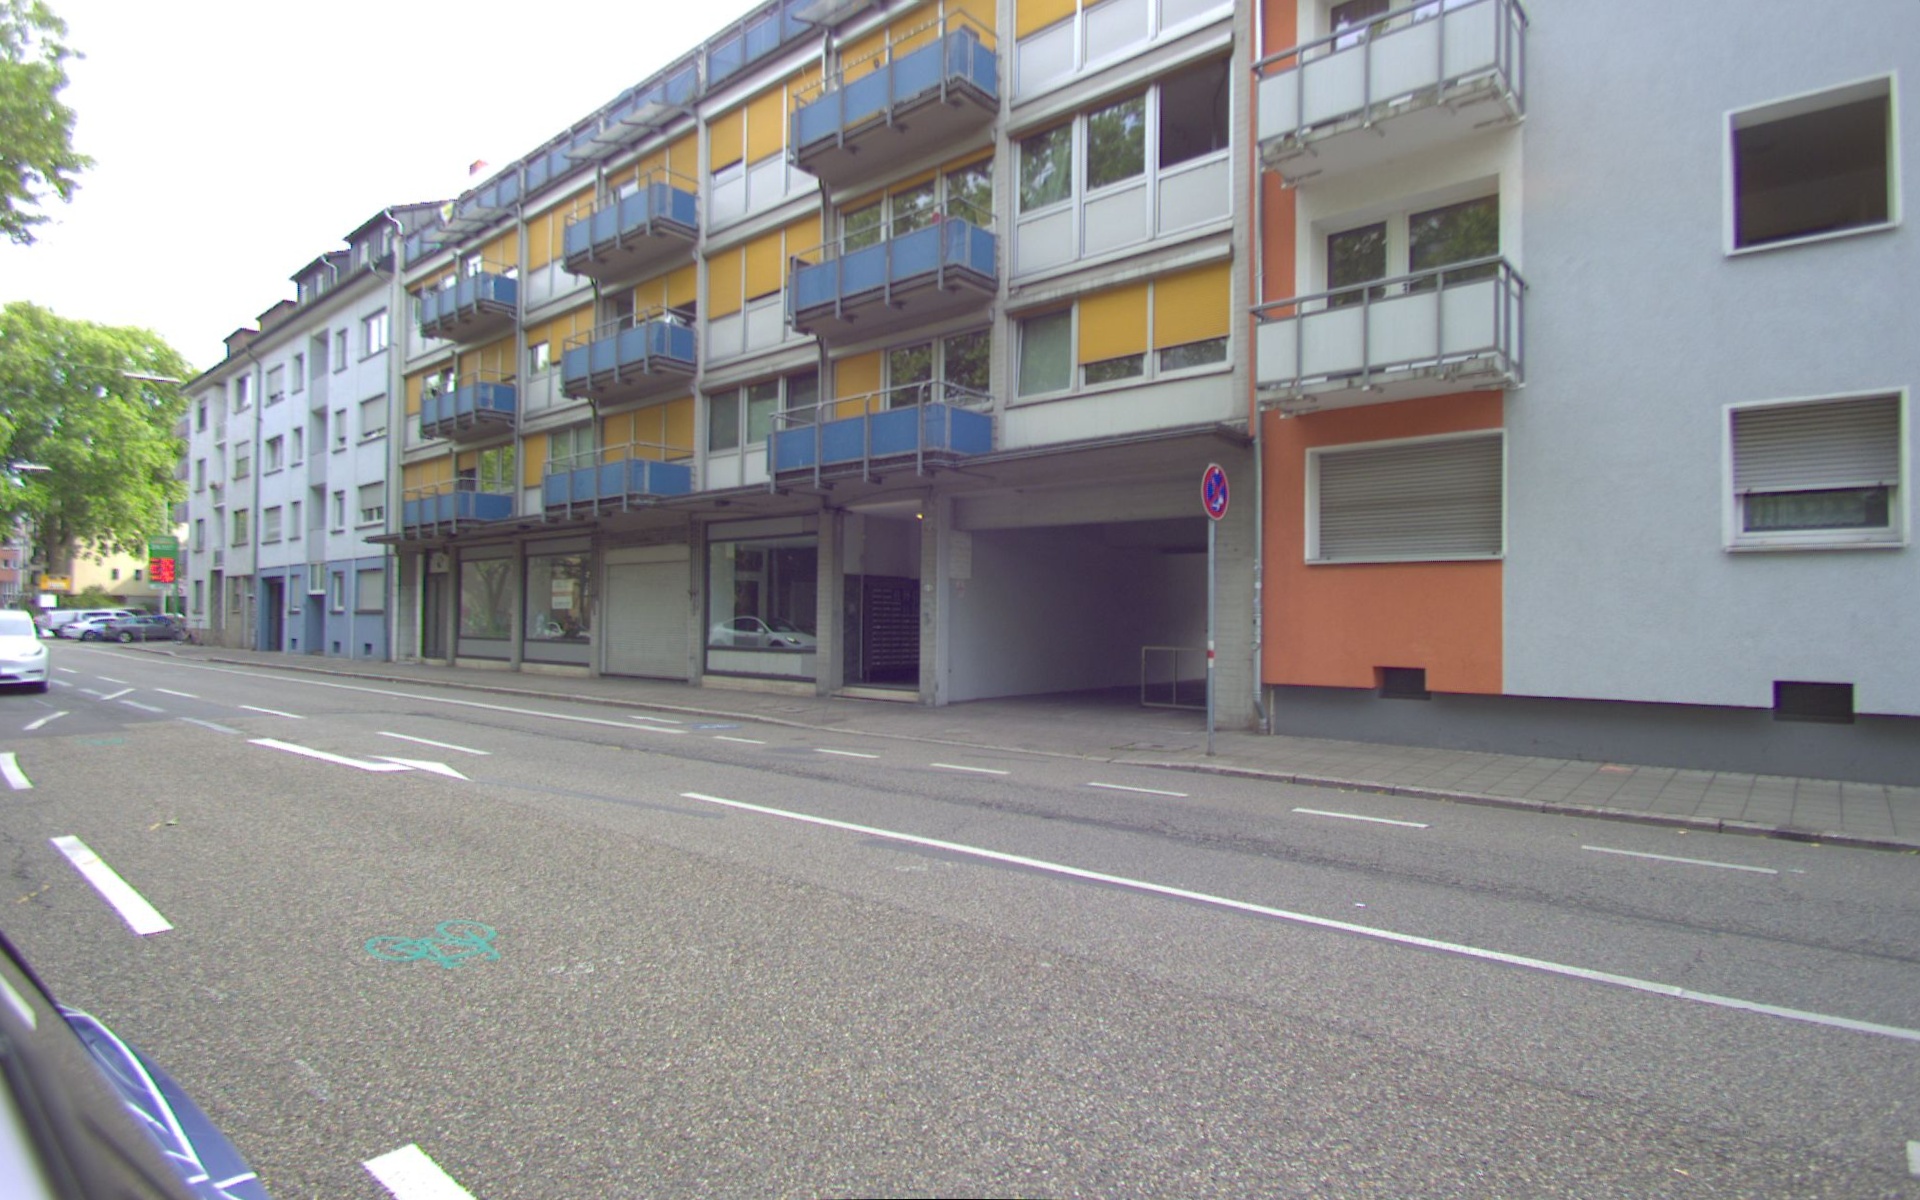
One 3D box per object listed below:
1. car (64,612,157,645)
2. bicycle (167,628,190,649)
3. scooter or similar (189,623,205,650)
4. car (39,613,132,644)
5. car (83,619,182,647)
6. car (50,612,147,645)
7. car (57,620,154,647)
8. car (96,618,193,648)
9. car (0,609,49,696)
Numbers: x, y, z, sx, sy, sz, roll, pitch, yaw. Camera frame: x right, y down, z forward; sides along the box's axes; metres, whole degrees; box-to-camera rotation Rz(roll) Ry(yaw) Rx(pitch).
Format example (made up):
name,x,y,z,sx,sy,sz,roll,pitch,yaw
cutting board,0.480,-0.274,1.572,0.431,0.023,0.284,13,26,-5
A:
name,x,y,z,sx,sy,sz,roll,pitch,yaw
car,-52.794,1.767,62.926,1.923,1.862,4.167,-1,0,42
bicycle,-37.514,1.850,48.570,1.662,0.957,0.590,-1,-1,42
scooter or similar,-35.377,1.698,46.910,1.201,1.231,0.346,-1,-1,42
car,-59.631,1.933,69.043,1.950,1.873,4.566,-1,0,42
car,-48.872,1.931,59.833,1.910,1.462,4.255,-1,0,42
car,-57.581,1.872,67.735,1.993,1.949,4.716,-1,0,42
car,-51.097,1.973,60.558,1.873,1.462,4.226,-1,0,42
car,-47.033,1.870,58.395,1.837,1.525,4.107,-1,0,42
car,-19.315,0.982,19.844,1.972,1.577,4.554,1,-1,-44
